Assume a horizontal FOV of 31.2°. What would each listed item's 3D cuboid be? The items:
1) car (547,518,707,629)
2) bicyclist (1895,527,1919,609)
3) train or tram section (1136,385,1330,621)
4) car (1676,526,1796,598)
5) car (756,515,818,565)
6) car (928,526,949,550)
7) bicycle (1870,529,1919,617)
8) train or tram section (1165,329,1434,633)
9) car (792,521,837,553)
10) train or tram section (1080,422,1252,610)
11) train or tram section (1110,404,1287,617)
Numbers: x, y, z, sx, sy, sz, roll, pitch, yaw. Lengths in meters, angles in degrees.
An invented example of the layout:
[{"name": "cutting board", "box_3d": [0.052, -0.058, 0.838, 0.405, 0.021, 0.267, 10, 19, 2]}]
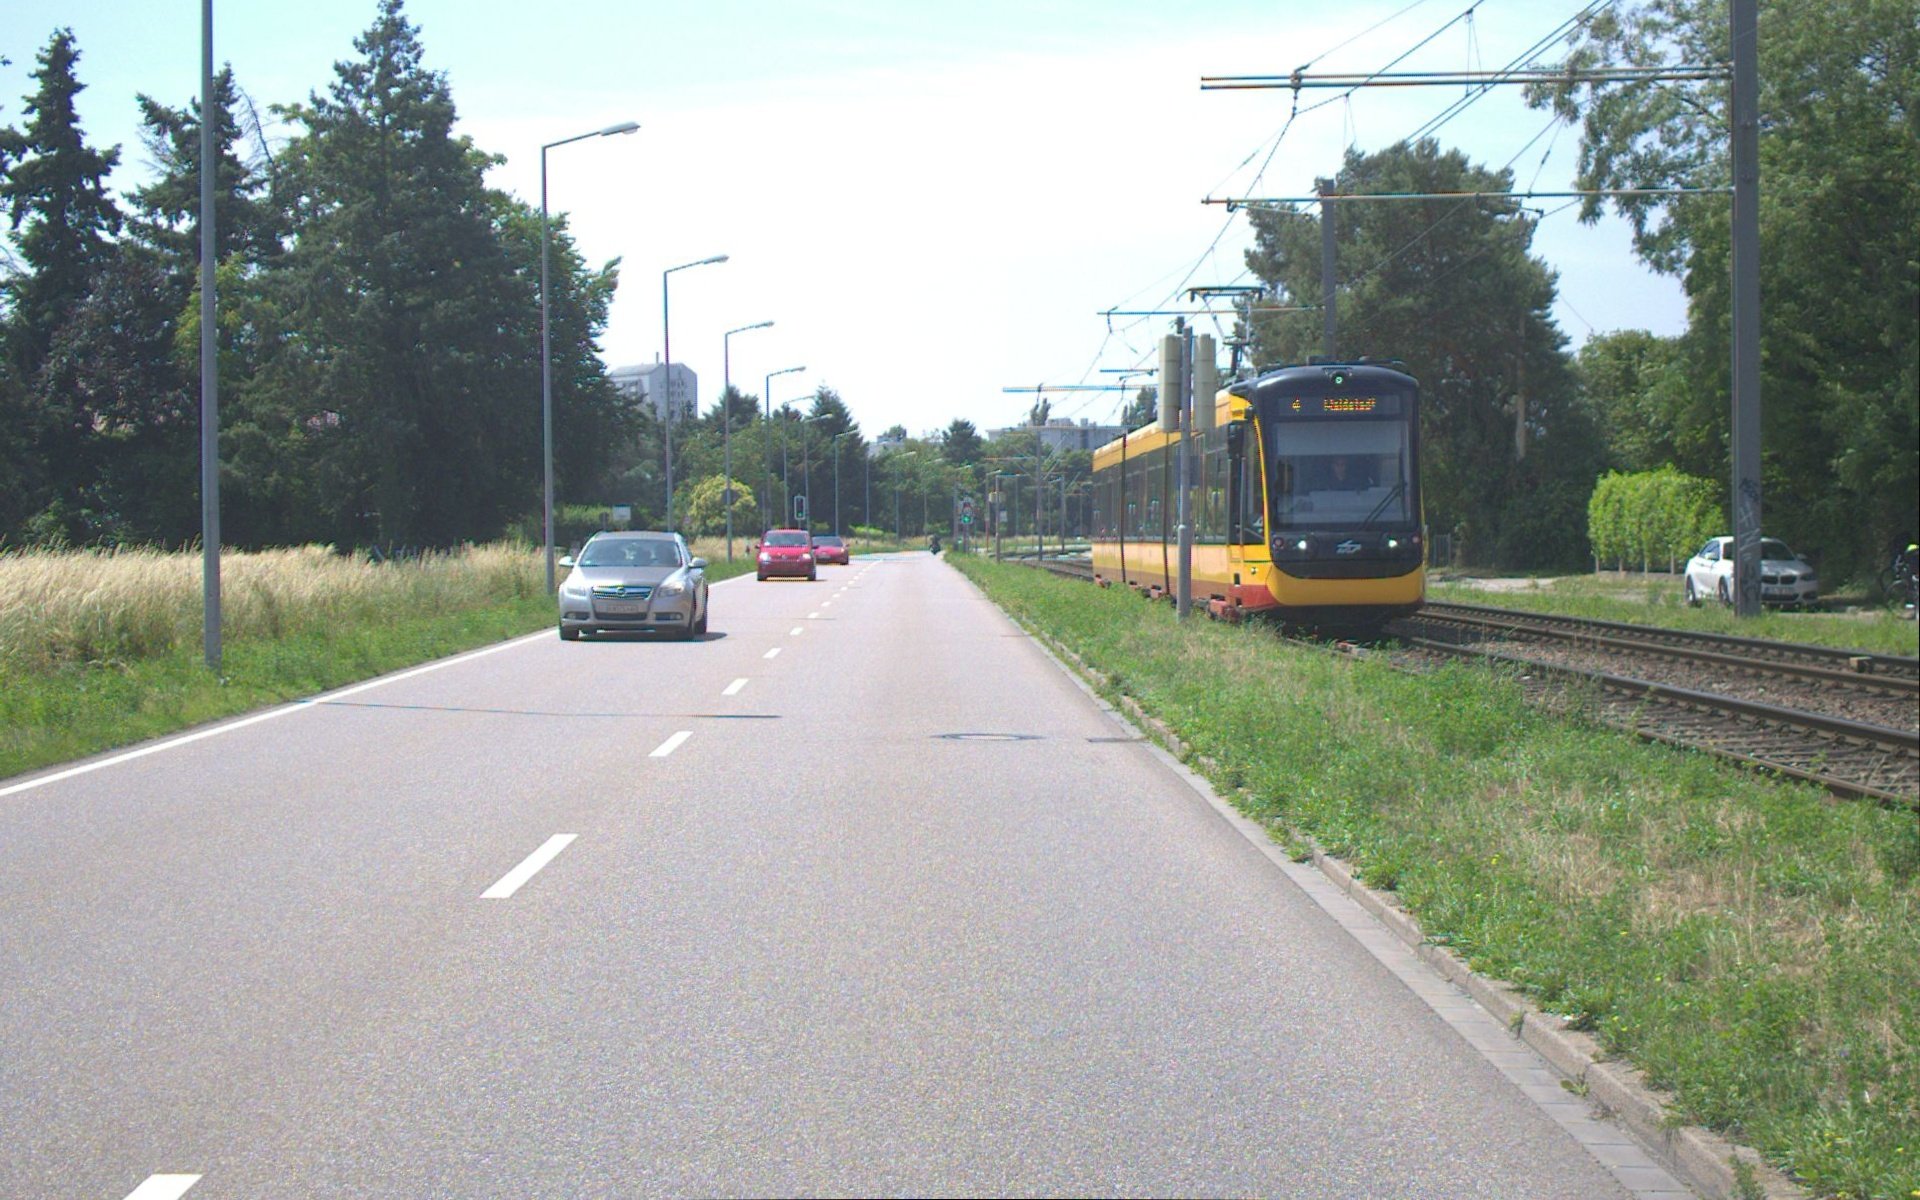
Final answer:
[{"name": "car", "box_3d": [-4.606, -0.357, 48.145, 1.834, 1.462, 4.678, -1, 0, -1]}, {"name": "bicyclist", "box_3d": [15.886, -0.534, 56.647, 0.701, 1.333, 0.904, -1, 0, -1]}, {"name": "train or tram section", "box_3d": [4.499, -1.560, 57.856, 2.560, 3.701, 6.730, -1, 0, -1]}, {"name": "car", "box_3d": [14.642, -0.709, 64.972, 1.428, 1.303, 3.466, -1, 0, -1]}, {"name": "car", "box_3d": [-4.993, -1.715, 99.554, 1.645, 1.395, 3.845, -1, 0, -1]}, {"name": "car", "box_3d": [-1.637, -4.706, 260.635, 1.579, 1.744, 3.677, -1, 0, -1]}, {"name": "bicycle", "box_3d": [15.940, -0.453, 56.658, 0.928, 1.425, 3.385, -1, 0, -1]}, {"name": "train or tram section", "box_3d": [4.579, -1.526, 48.648, 2.429, 3.753, 11.560, -1, 0, -1]}, {"name": "car", "box_3d": [-6.204, -2.683, 146.904, 1.807, 1.281, 4.286, -1, 0, -1]}, {"name": "train or tram section", "box_3d": [4.268, -1.693, 73.538, 2.765, 3.677, 11.187, -1, 0, -1]}, {"name": "train or tram section", "box_3d": [4.397, -1.612, 64.586, 2.701, 3.753, 6.730, -1, 0, -1]}]
